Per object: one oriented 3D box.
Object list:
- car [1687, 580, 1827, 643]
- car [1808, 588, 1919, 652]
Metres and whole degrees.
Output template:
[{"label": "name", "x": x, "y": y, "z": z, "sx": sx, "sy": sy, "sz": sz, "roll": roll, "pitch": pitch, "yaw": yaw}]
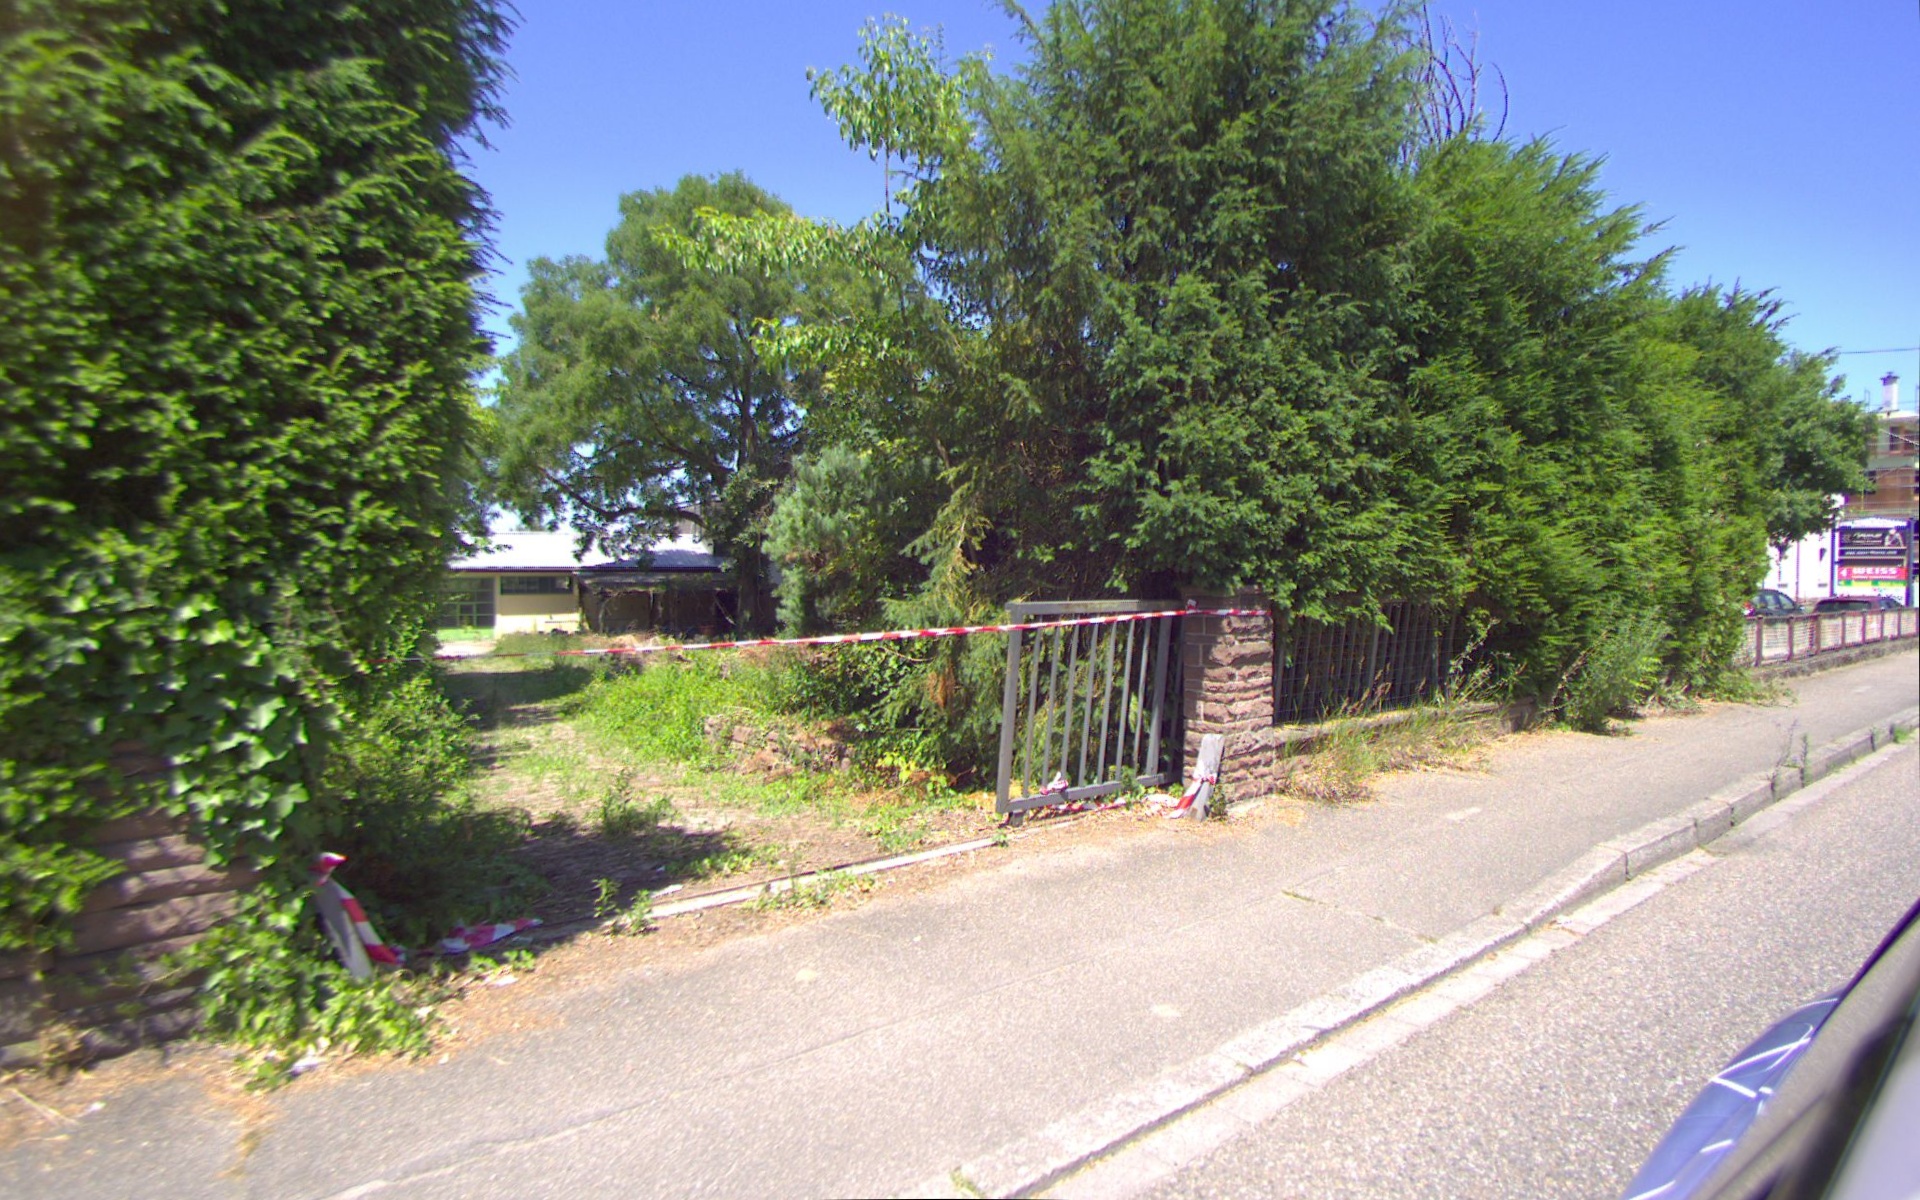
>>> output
[{"label": "car", "x": 22.781, "y": 0.285, "z": 28.905, "sx": 4.372, "sy": 1.686, "sz": 1.718, "roll": -1, "pitch": 0, "yaw": -32}, {"label": "car", "x": 24.287, "y": 0.476, "z": 26.770, "sx": 3.763, "sy": 1.542, "sz": 1.719, "roll": -1, "pitch": 2, "yaw": -31}]
